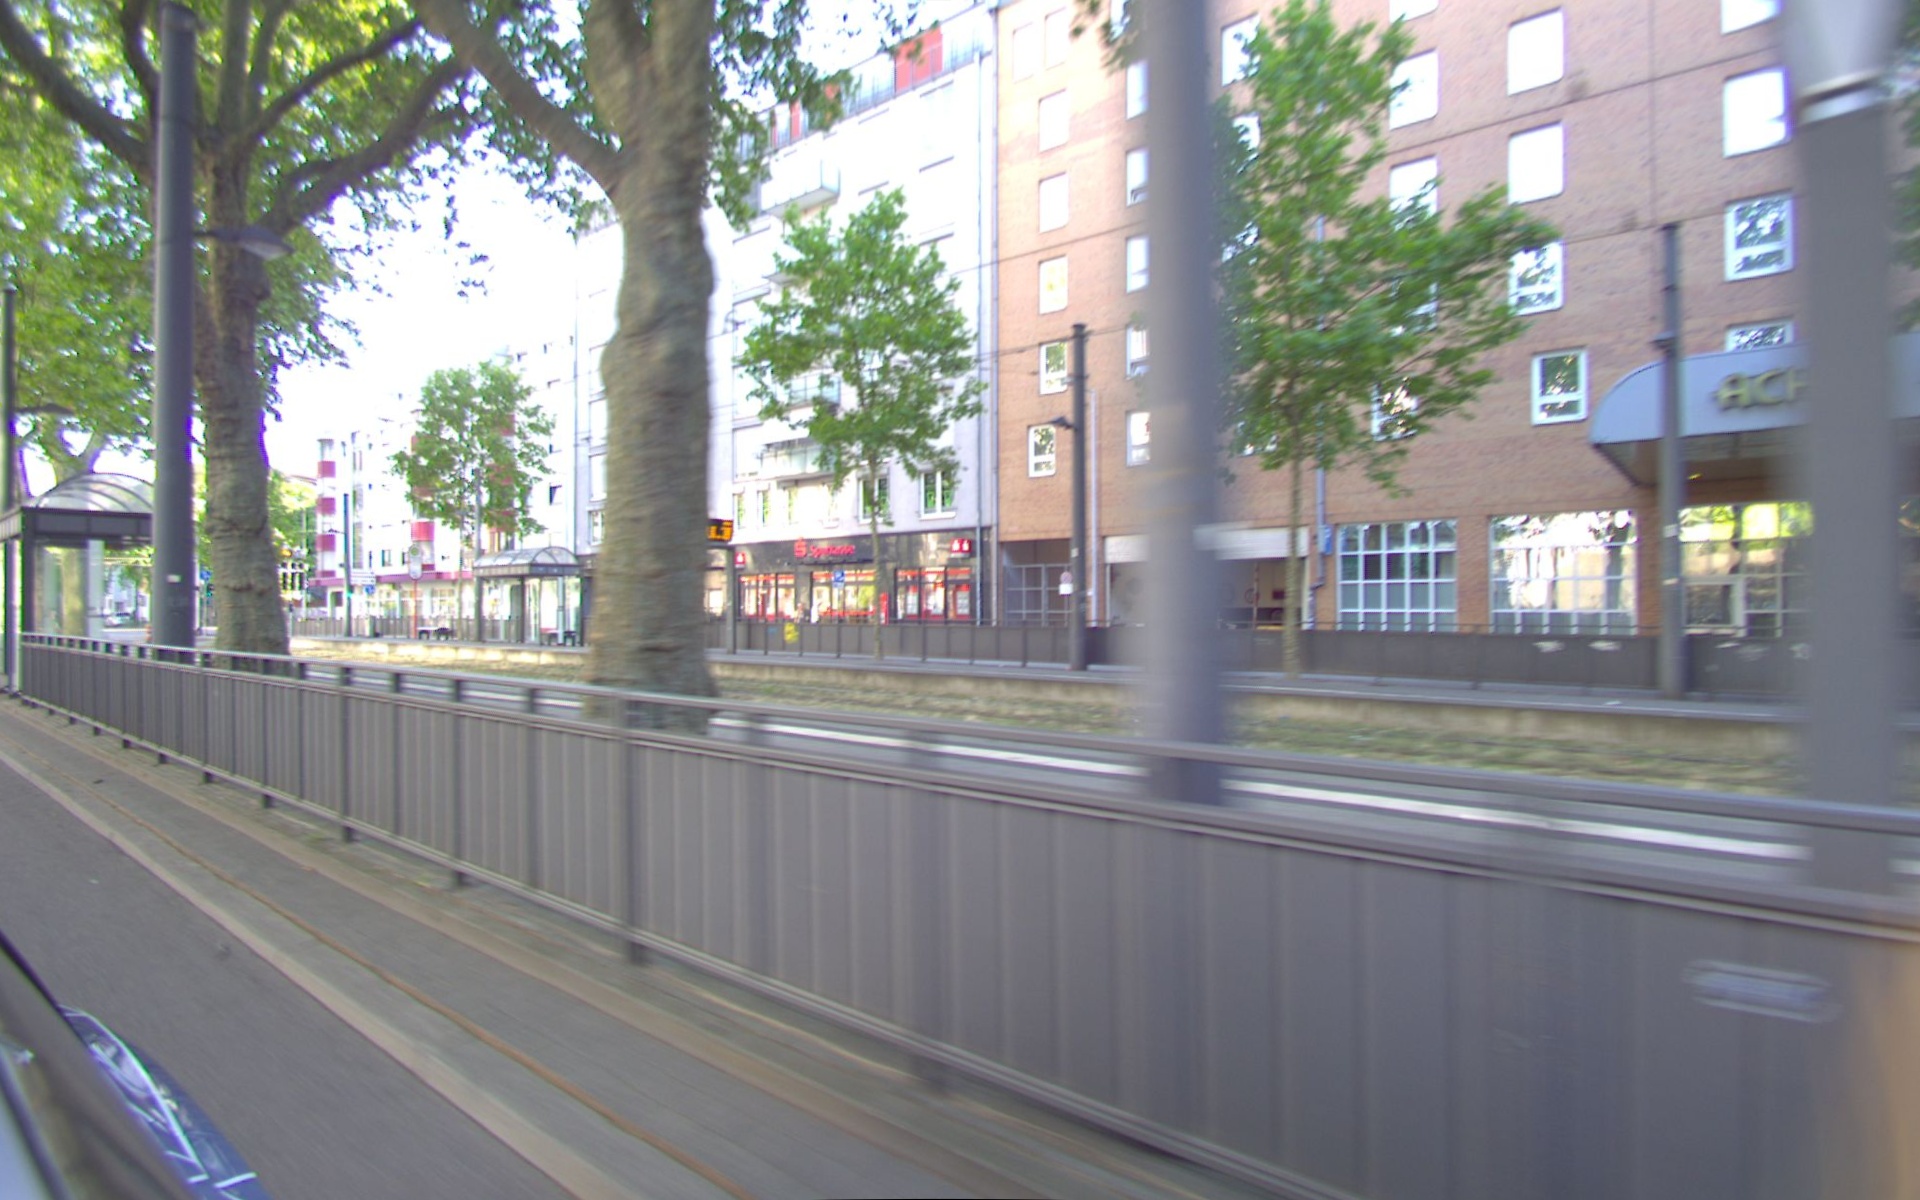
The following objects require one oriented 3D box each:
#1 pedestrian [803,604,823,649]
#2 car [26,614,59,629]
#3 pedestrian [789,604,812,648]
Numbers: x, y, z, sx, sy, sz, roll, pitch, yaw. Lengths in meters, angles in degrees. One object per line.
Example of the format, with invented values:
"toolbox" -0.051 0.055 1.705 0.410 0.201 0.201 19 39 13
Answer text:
"pedestrian" -5.897 1.061 40.566 0.628 1.783 0.497 0 1 40
"car" -92.093 2.163 101.571 3.997 1.475 1.973 -1 -1 40
"pedestrian" -6.508 1.058 41.287 0.784 1.783 0.497 0 1 41
